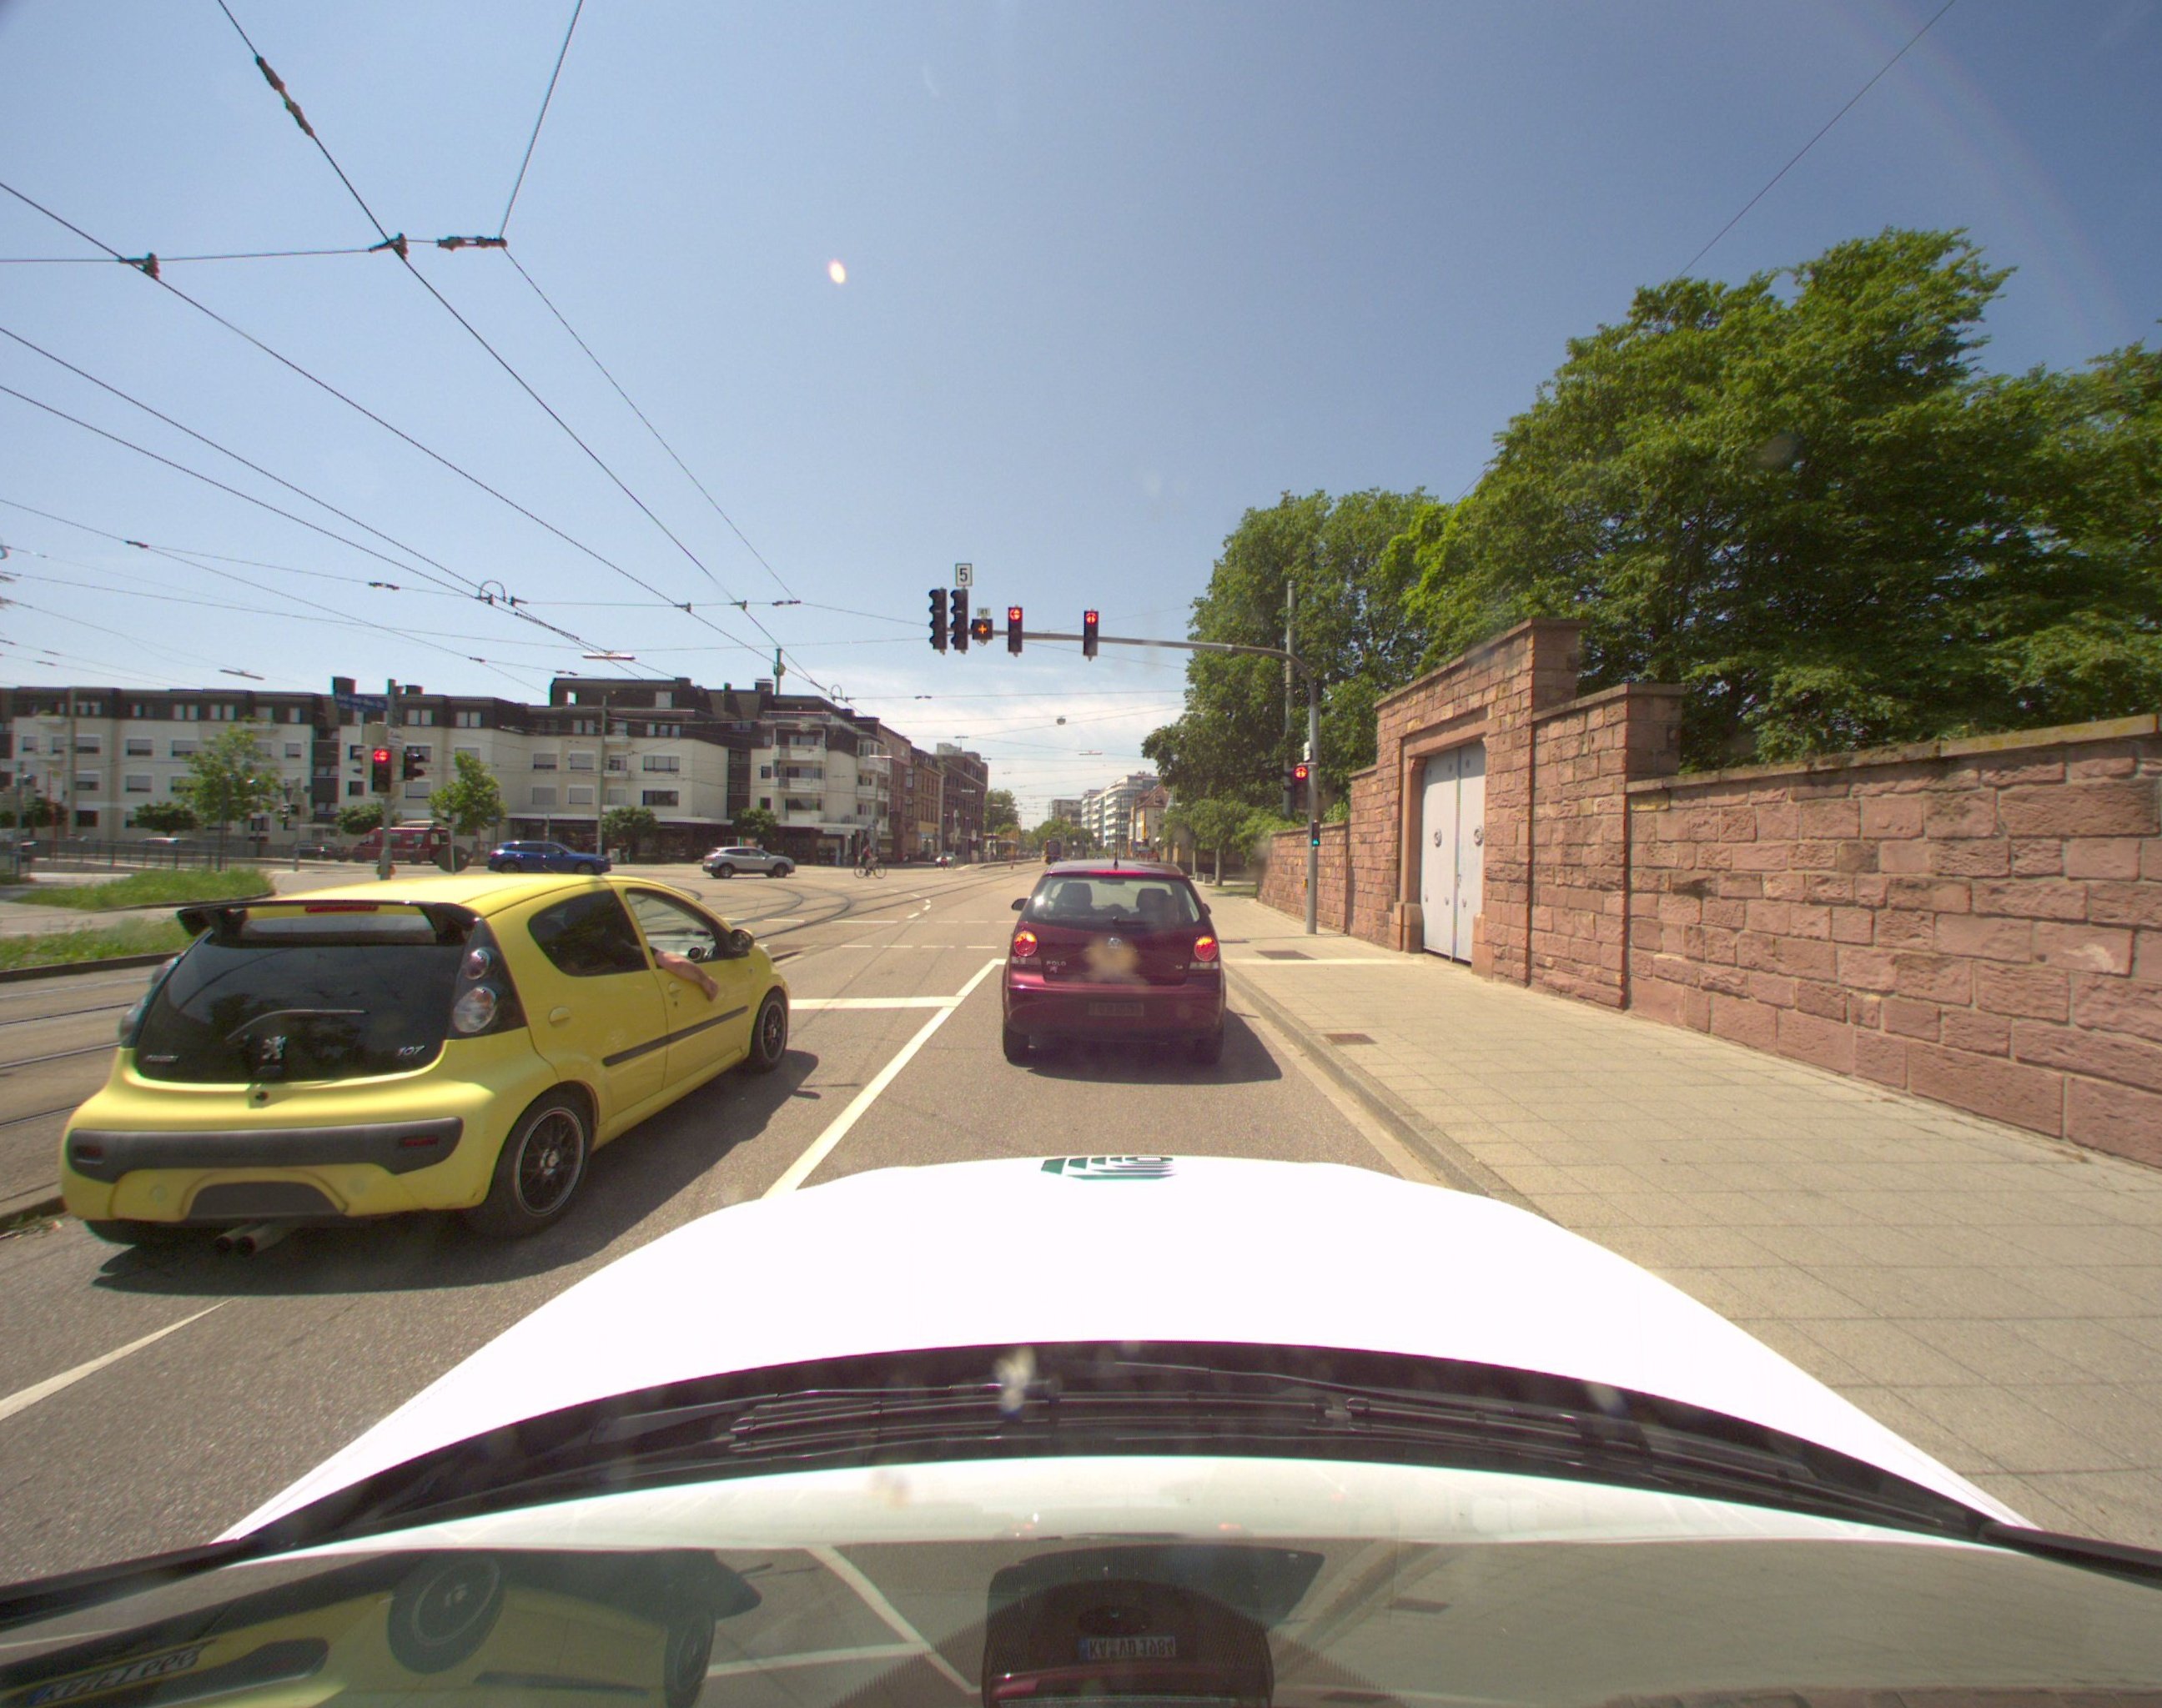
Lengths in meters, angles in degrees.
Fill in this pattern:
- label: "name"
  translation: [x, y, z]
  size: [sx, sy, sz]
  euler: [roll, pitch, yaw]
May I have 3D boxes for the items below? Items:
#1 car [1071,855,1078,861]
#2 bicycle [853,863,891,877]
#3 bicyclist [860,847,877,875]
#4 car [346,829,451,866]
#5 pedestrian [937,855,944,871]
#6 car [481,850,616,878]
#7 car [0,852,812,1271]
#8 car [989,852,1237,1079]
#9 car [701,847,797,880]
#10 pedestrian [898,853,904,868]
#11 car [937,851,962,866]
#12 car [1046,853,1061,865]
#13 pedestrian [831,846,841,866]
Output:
- label: "car"
  translation: [-1.723, 1.018, 207.533]
  size: [1.567, 1.415, 3.721]
  euler: [-1, 0, 1]
- label: "bicycle"
  translation: [-11.269, 0.857, 43.919]
  size: [1.996, 0.783, 0.461]
  euler: [0, -1, -38]
- label: "bicyclist"
  translation: [-11.440, 0.378, 43.798]
  size: [0.756, 1.501, 0.476]
  euler: [0, -1, -38]
- label: "car"
  translation: [-45.503, -0.419, 54.389]
  size: [5.048, 2.341, 2.244]
  euler: [0, -1, 0]
- label: "pedestrian"
  translation: [-16.358, 1.058, 94.878]
  size: [0.659, 1.787, 0.815]
  euler: [1, 0, 1]
- label: "car"
  translation: [-24.024, 0.436, 36.973]
  size: [4.783, 1.237, 1.927]
  euler: [0, -1, -19]
- label: "car"
  translation: [-2.947, 0.734, 4.542]
  size: [1.717, 1.445, 3.293]
  euler: [-1, 0, 1]
- label: "car"
  translation: [0.237, 0.733, 7.392]
  size: [1.604, 1.463, 4.085]
  euler: [1, 0, 1]
- label: "car"
  translation: [-16.798, 0.464, 41.248]
  size: [4.171, 1.584, 1.918]
  euler: [0, -1, -37]
- label: "pedestrian"
  translation: [-18.233, 0.672, 82.437]
  size: [0.481, 1.541, 0.539]
  euler: [-1, -1, 8]
- label: "car"
  translation: [-13.540, 0.445, 83.845]
  size: [1.682, 1.462, 4.003]
  euler: [1, 0, 3]
- label: "car"
  translation: [-3.923, 0.725, 116.452]
  size: [1.931, 1.641, 4.000]
  euler: [0, -1, 1]
- label: "pedestrian"
  translation: [-21.248, 0.157, 70.611]
  size: [0.614, 1.754, 0.499]
  euler: [1, -2, -43]
